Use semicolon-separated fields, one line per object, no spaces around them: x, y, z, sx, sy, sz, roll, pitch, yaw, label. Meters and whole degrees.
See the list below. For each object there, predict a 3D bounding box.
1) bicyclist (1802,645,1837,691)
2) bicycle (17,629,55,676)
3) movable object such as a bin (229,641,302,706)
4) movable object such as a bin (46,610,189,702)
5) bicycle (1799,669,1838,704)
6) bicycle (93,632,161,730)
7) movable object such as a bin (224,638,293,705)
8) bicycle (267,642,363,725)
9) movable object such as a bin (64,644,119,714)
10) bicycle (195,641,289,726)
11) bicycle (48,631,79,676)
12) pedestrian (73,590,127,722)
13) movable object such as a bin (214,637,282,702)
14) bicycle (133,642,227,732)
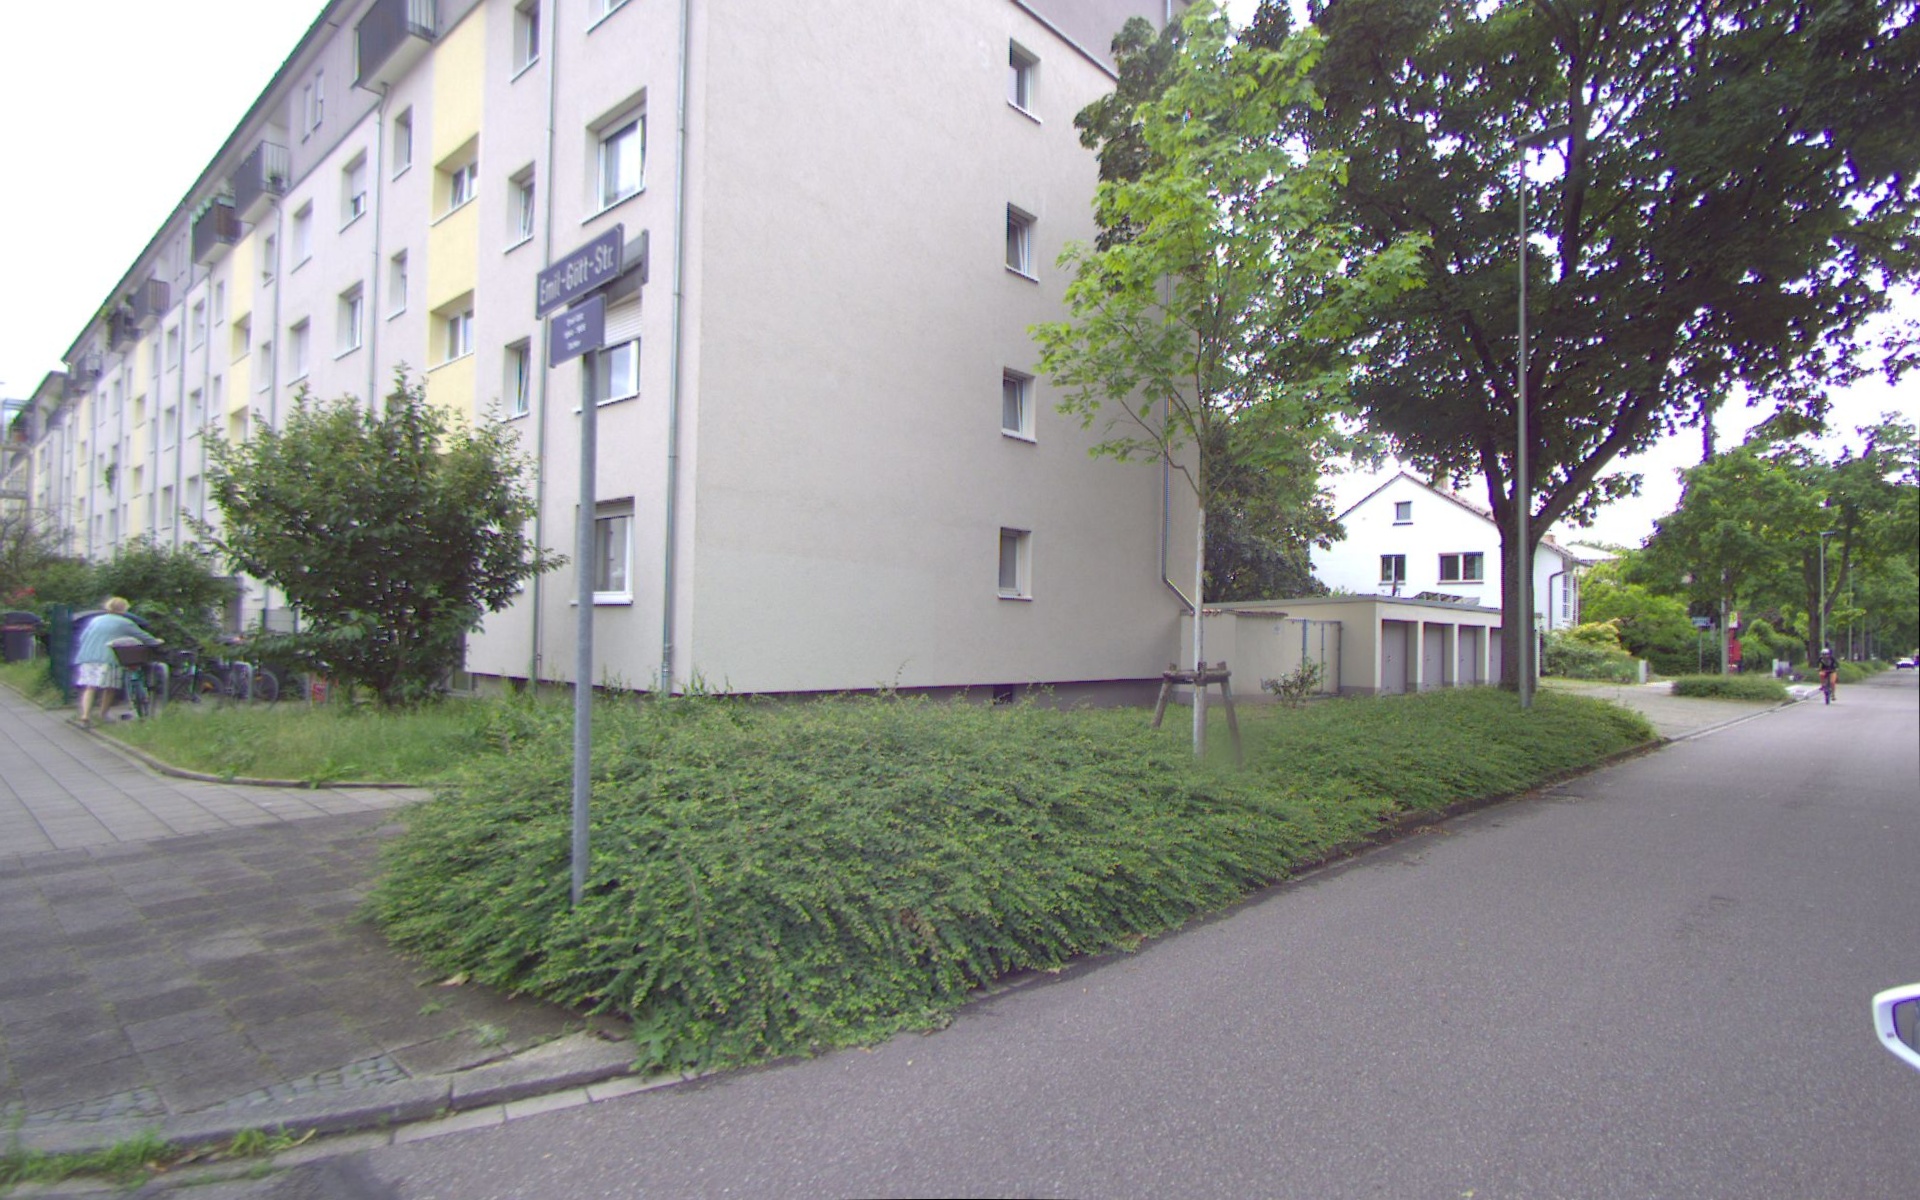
28.066;2.204;32.801;0.931;1.488;0.776;3;-3;-45;bicyclist
-21.702;1.217;23.586;1.852;1.038;0.487;-1;-3;43;bicycle
-11.753;1.234;16.996;0.624;1.065;0.862;-1;-3;41;movable object such as a bin
-14.094;0.913;16.805;1.647;1.439;1.586;-1;-3;42;movable object such as a bin
27.978;2.802;32.705;0.786;1.039;2.548;-2;-3;44;bicycle
-10.381;0.973;12.500;0.534;1.134;1.795;2;-3;-42;bicycle
-12.195;1.231;17.470;0.589;1.131;0.841;-1;-3;40;movable object such as a bin
-9.325;1.168;14.492;2.145;1.084;0.656;-1;-3;44;bicycle
-13.421;1.208;15.520;0.589;1.046;0.536;-1;-3;41;movable object such as a bin
-10.096;1.137;14.096;2.145;1.084;0.656;-1;-3;44;bicycle
-21.309;1.253;23.871;1.476;1.038;0.355;-1;-3;42;bicycle
-10.546;0.681;12.317;0.445;1.570;0.560;2;-3;-43;pedestrian
-12.689;1.225;17.899;0.589;1.131;0.841;-1;-3;40;movable object such as a bin
-10.330;1.108;13.272;2.092;1.082;0.655;-1;-3;44;bicycle
